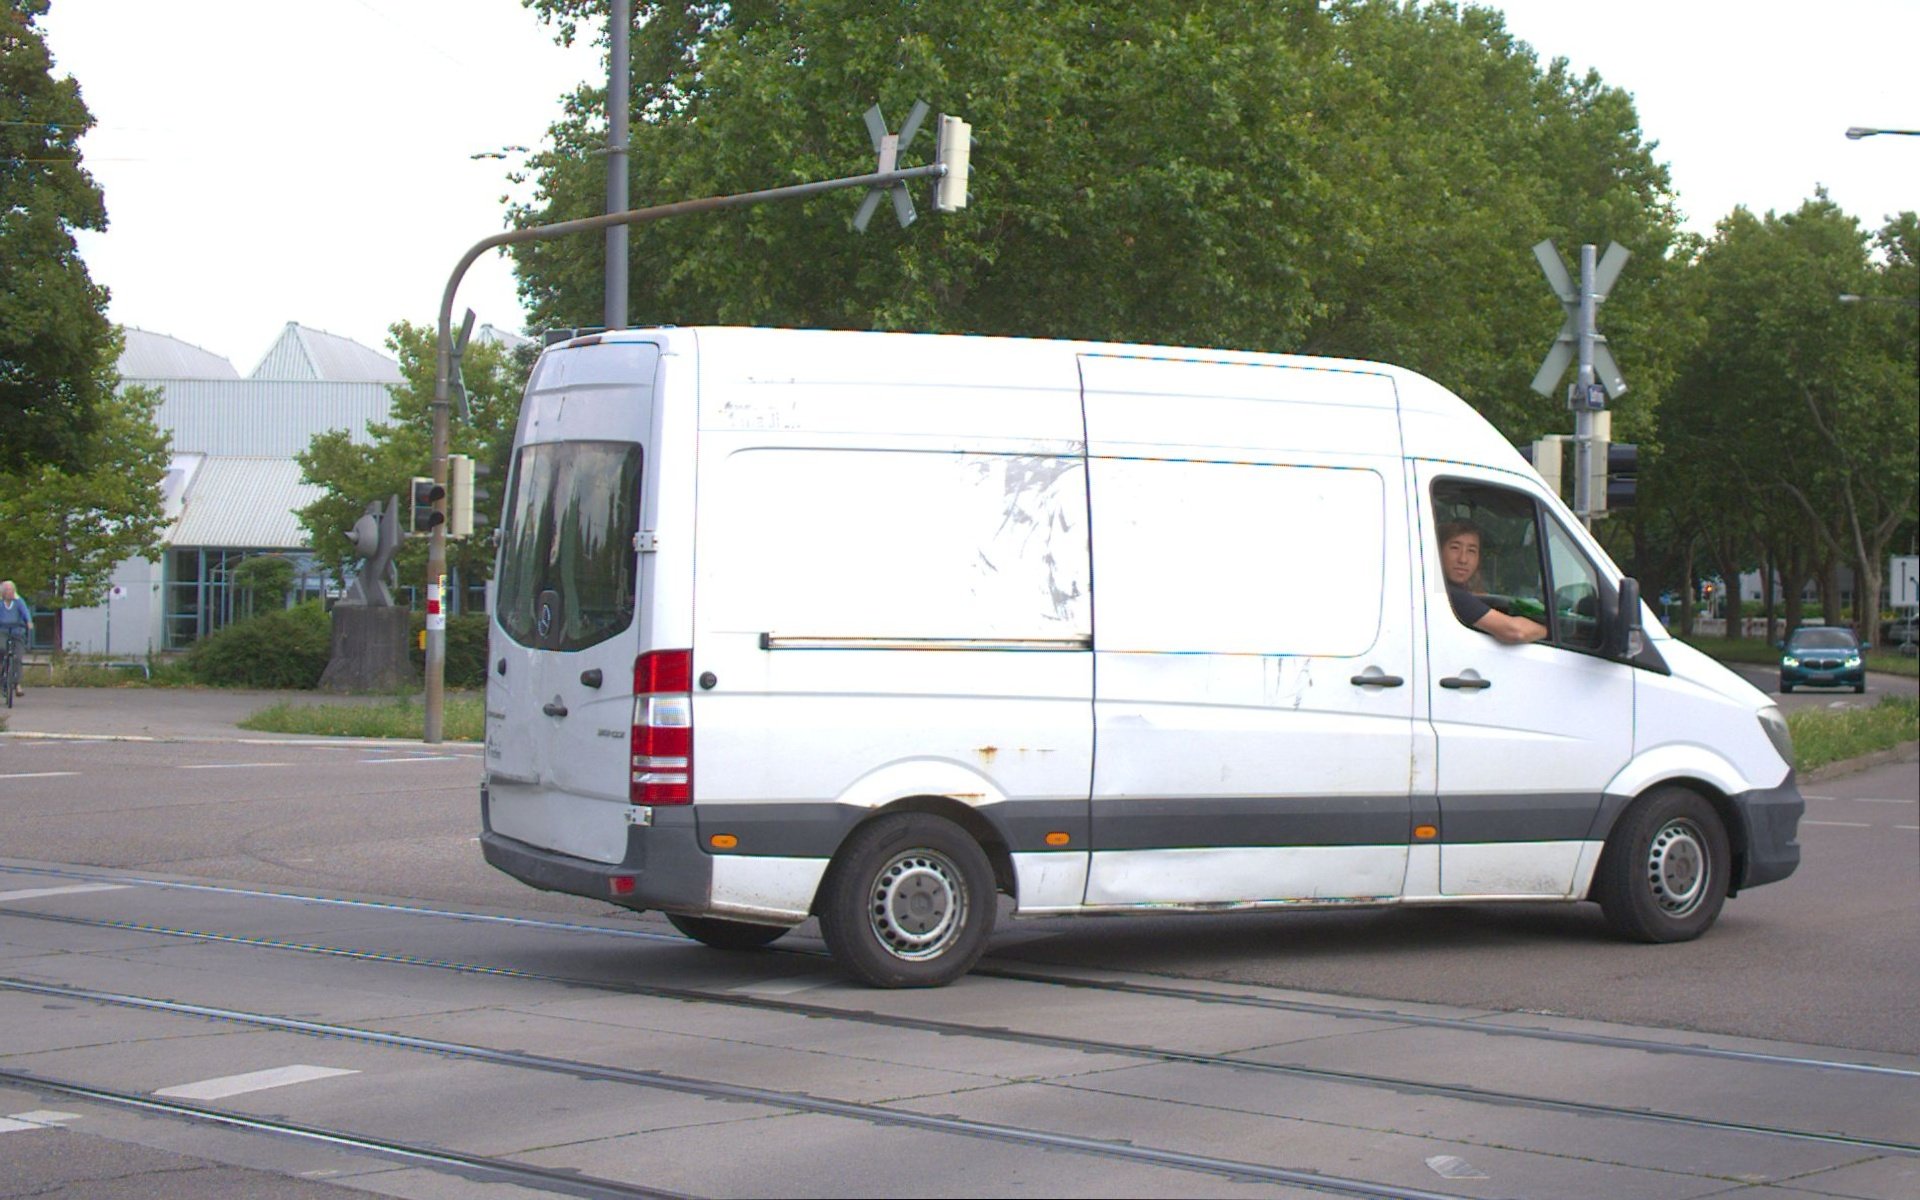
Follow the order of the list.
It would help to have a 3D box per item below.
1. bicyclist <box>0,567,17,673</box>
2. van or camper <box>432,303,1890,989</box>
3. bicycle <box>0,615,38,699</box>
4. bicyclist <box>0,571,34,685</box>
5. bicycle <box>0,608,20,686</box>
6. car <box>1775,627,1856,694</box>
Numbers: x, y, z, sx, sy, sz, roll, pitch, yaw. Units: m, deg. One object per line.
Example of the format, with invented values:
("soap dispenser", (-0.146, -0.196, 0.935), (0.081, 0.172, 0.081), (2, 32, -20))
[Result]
("bicyclist", (-14.241, 0.288, 50.810), (0.485, 1.548, 0.556), (2, -1, -21))
("van or camper", (0.953, 0.205, 14.804), (6.016, 2.516, 1.983), (1, 0, -26))
("bicycle", (-13.074, 0.770, 47.284), (0.560, 1.126, 1.380), (2, -1, -8))
("bicyclist", (-13.050, 0.389, 47.277), (0.485, 1.549, 0.556), (2, -2, -9))
("bicycle", (-14.274, 0.684, 50.859), (0.560, 1.126, 1.380), (1, 0, -21))
("car", (18.682, 1.307, 75.181), (1.657, 1.267, 3.769), (0, 2, 13))
